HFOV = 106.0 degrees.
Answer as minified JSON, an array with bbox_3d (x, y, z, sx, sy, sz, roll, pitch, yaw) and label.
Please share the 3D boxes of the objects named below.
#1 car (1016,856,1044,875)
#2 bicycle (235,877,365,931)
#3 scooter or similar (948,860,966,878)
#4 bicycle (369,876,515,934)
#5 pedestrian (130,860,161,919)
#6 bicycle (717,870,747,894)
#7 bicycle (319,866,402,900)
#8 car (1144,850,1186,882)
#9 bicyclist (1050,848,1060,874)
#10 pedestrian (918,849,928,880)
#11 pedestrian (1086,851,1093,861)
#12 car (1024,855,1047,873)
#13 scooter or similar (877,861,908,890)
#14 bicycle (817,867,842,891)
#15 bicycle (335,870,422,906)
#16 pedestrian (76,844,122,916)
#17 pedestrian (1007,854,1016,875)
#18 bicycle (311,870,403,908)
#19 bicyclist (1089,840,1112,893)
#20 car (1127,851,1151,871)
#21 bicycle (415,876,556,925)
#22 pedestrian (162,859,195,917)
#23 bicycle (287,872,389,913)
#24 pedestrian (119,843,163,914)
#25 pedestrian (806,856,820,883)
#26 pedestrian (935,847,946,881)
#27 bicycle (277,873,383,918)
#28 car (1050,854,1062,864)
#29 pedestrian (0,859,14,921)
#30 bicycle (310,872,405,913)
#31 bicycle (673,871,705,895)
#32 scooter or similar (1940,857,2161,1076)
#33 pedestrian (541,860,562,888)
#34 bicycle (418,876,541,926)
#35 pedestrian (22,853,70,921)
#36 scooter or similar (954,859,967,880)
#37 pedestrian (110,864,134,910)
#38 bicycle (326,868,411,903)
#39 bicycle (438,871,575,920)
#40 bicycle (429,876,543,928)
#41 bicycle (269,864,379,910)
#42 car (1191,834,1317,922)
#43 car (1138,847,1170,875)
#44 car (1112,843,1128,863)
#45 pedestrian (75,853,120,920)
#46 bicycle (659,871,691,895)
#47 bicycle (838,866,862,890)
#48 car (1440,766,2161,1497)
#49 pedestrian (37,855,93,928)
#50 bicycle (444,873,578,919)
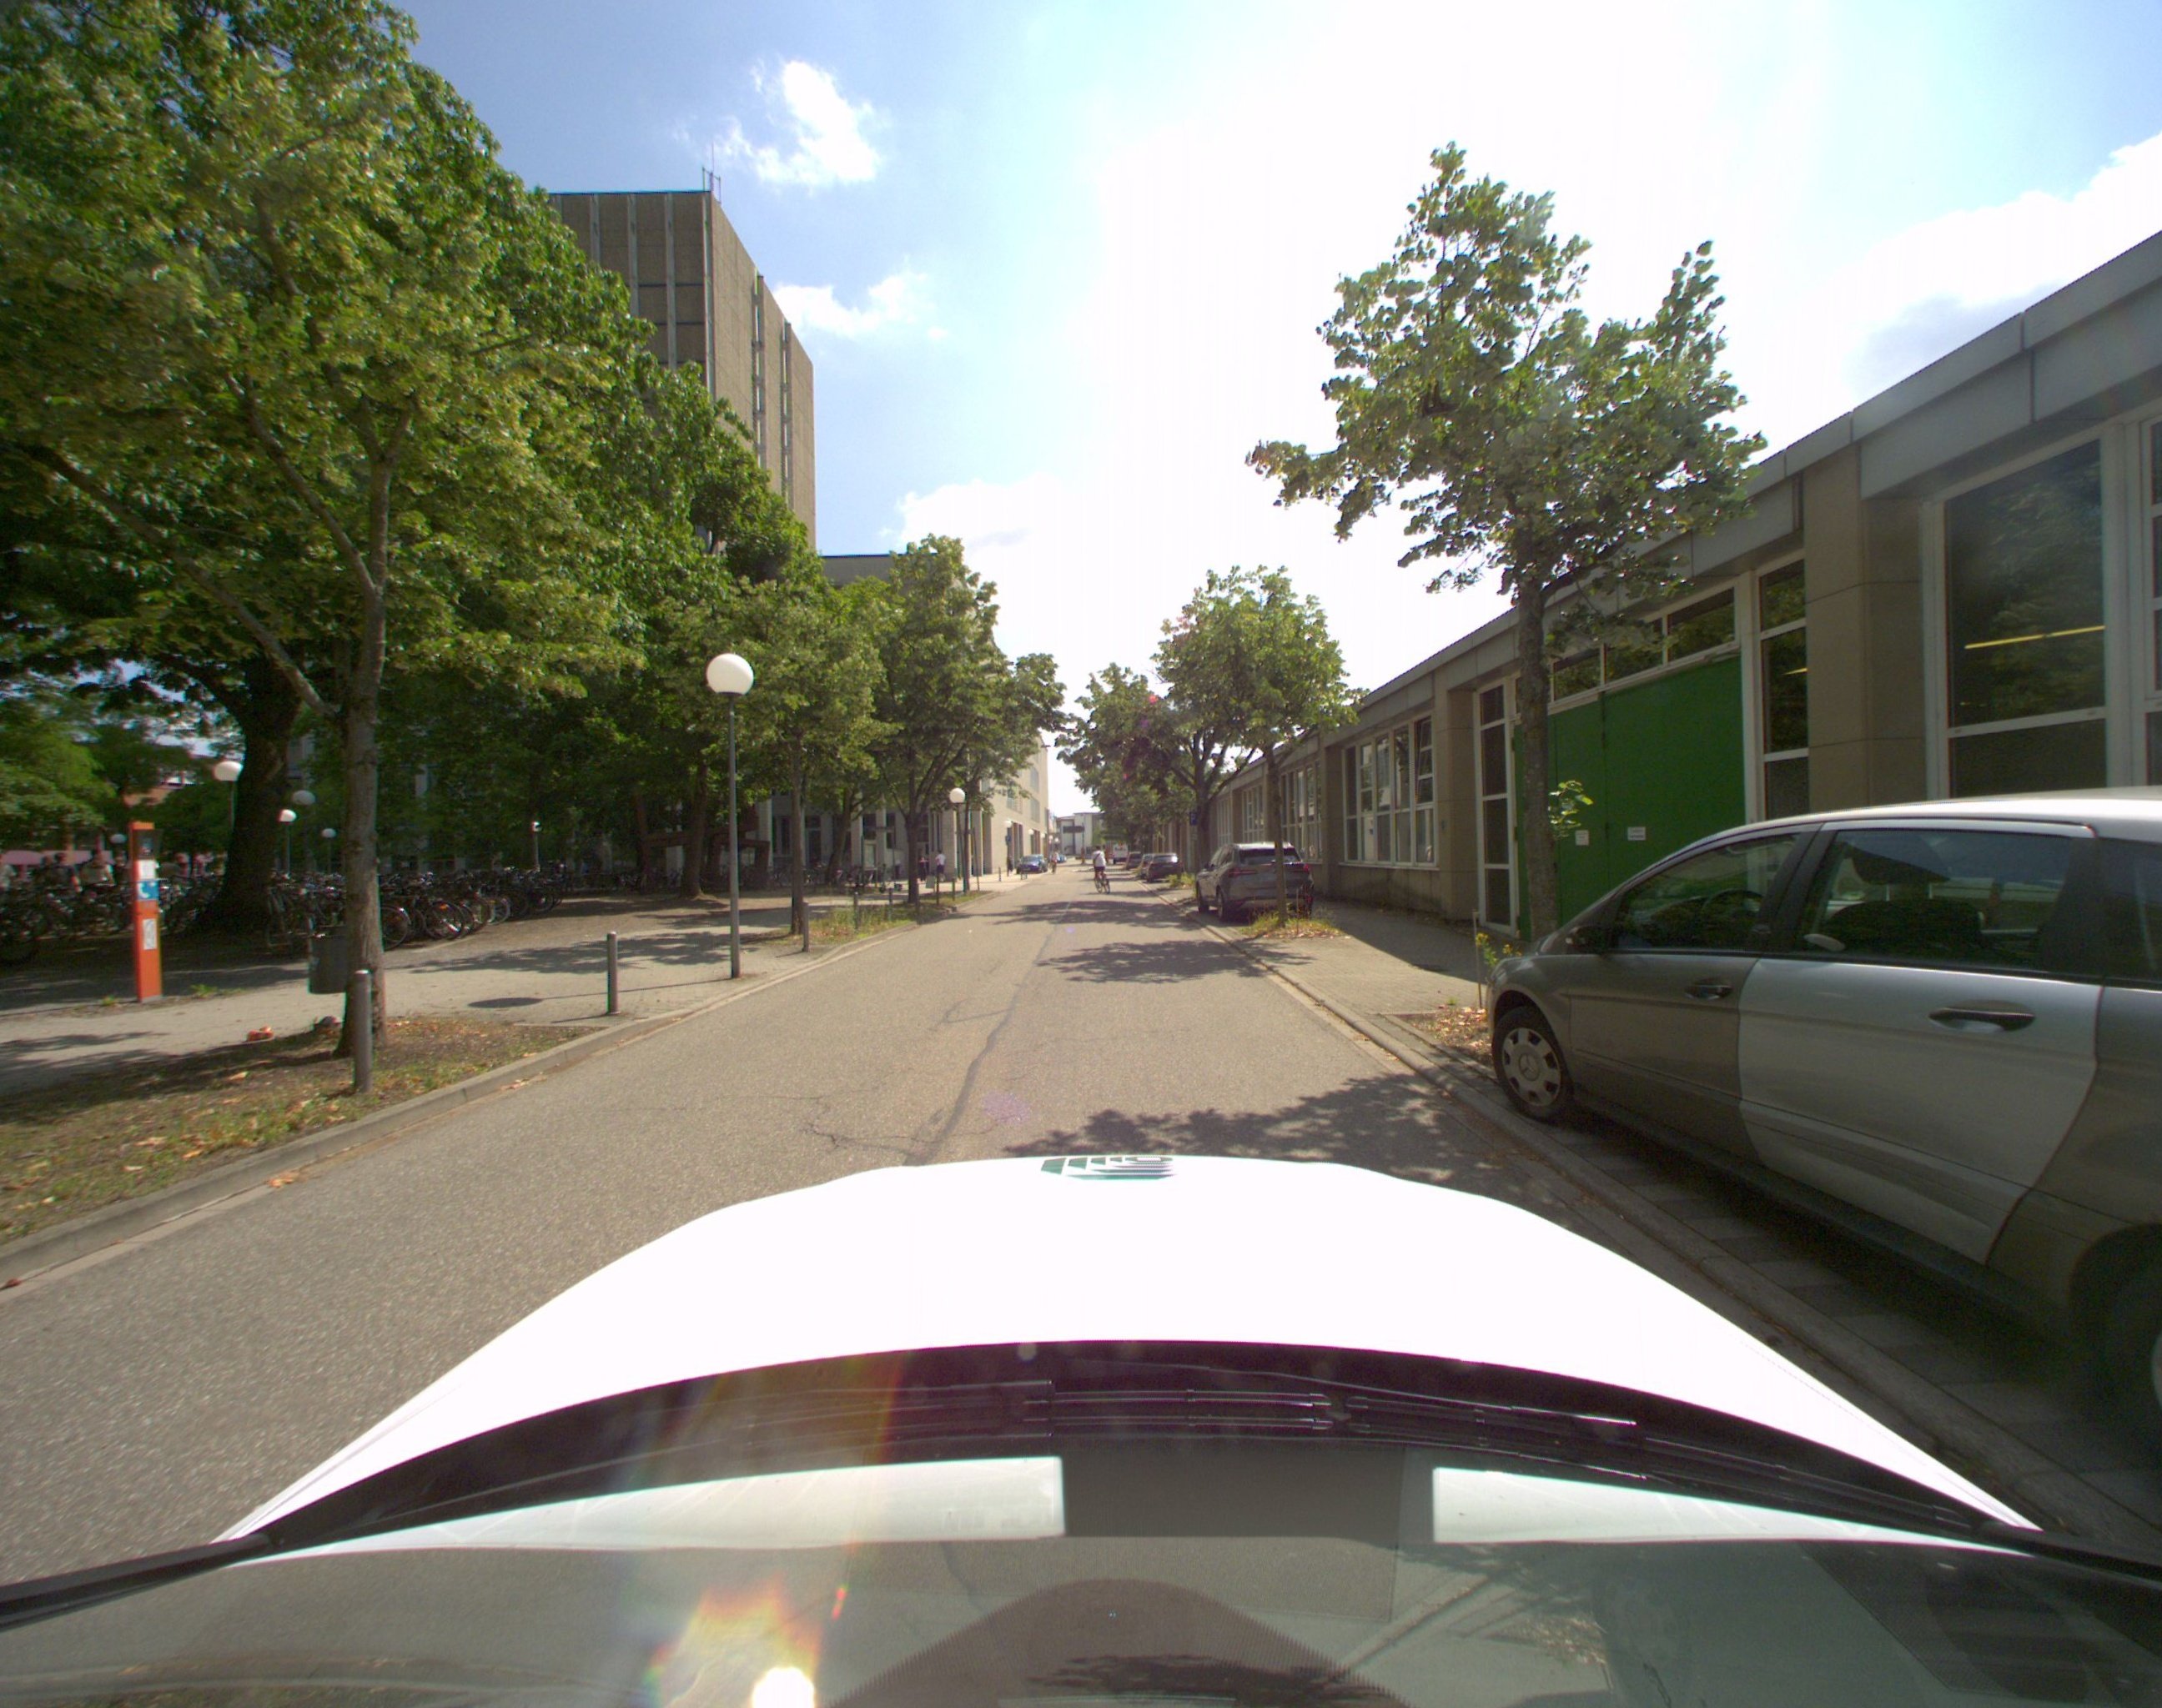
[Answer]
[{"bbox_3d":[-4.046,0.908,65.394,1.759,1.427,4.237,-1,-1,3],"label":"car"},{"bbox_3d":[-18.020,1.137,18.860,2.069,1.132,0.633,0,0,-34],"label":"bicycle"},{"bbox_3d":[-8.638,1.035,56.728,0.529,1.210,1.541,-1,0,-36],"label":"scooter or similar"},{"bbox_3d":[-12.506,0.979,16.028,2.160,1.008,0.671,-1,0,-29],"label":"bicycle"},{"bbox_3d":[-32.380,1.220,28.194,0.528,2.013,0.522,-1,0,16],"label":"pedestrian"},{"bbox_3d":[-16.774,1.316,39.207,0.550,1.086,1.973,0,0,1],"label":"bicycle"},{"bbox_3d":[-25.208,1.031,28.539,2.068,1.132,0.633,2,-1,-34],"label":"bicycle"},{"bbox_3d":[4.286,0.586,42.164,1.774,1.476,4.463,-3,0,1],"label":"car"},{"bbox_3d":[-2.040,0.535,63.643,0.709,2.013,1.018,-3,0,-1],"label":"bicyclist"},{"bbox_3d":[-9.214,0.612,47.545,0.443,1.775,0.447,-1,0,-29],"label":"pedestrian"},{"bbox_3d":[1.813,0.490,177.275,1.413,2.107,0.994,0,0,-2],"label":"pedestrian"},{"bbox_3d":[-3.874,0.856,70.276,1.625,1.485,4.179,-1,0,2],"label":"car"},{"bbox_3d":[-7.742,0.877,33.457,0.335,1.175,1.337,-1,0,36],"label":"scooter or similar"},{"bbox_3d":[-12.257,1.201,39.705,0.550,1.086,1.973,0,0,1],"label":"bicycle"},{"bbox_3d":[-22.970,1.116,26.682,2.068,1.132,0.633,2,-1,-34],"label":"bicycle"},{"bbox_3d":[-27.021,0.692,22.417,0.624,1.934,0.675,0,0,-34],"label":"pedestrian"},{"bbox_3d":[-5.624,0.864,65.681,0.649,1.701,0.886,-1,0,-9],"label":"pedestrian"},{"bbox_3d":[-22.628,1.079,25.518,2.068,1.132,0.633,1,-1,-34],"label":"bicycle"},{"bbox_3d":[0.768,0.487,31.769,0.870,2.013,0.850,-1,0,2],"label":"bicyclist"},{"bbox_3d":[4.977,0.591,70.182,1.851,1.574,4.002,-3,0,2],"label":"car"},{"bbox_3d":[-14.186,1.073,19.464,2.665,1.008,0.670,-1,0,-42],"label":"bicycle"},{"bbox_3d":[-31.816,1.172,28.709,0.528,2.013,0.595,-1,0,16],"label":"pedestrian"},{"bbox_3d":[-21.519,1.106,23.635,2.068,1.132,0.633,2,-1,-34],"label":"bicycle"},{"bbox_3d":[-26.346,0.674,22.834,0.650,1.934,0.689,0,0,-34],"label":"pedestrian"},{"bbox_3d":[-17.068,0.969,51.862,0.638,1.661,0.687,-1,0,-37],"label":"pedestrian"},{"bbox_3d":[-8.072,0.574,46.781,0.415,1.942,0.657,0,0,-28],"label":"pedestrian"},{"bbox_3d":[-20.863,1.135,22.675,2.069,1.132,0.633,-1,1,-34],"label":"bicycle"},{"bbox_3d":[-4.009,0.843,131.176,1.640,1.498,3.728,-2,-2,1],"label":"car"},{"bbox_3d":[-28.249,0.946,21.236,0.464,1.614,0.346,0,-1,-44],"label":"pedestrian"},{"bbox_3d":[-21.912,1.141,24.720,2.069,1.132,0.633,-1,1,-34],"label":"bicycle"},{"bbox_3d":[-18.890,1.380,39.262,0.550,1.086,1.973,0,0,1],"label":"bicycle"},{"bbox_3d":[6.319,0.643,5.034,0.414,1.217,1.493,-3,0,1],"label":"scooter or similar"},{"bbox_3d":[-30.956,1.172,47.613,0.824,1.593,0.598,-1,0,3],"label":"pedestrian"},{"bbox_3d":[-13.534,1.034,18.403,2.160,1.008,0.671,-1,0,-30],"label":"bicycle"},{"bbox_3d":[-25.813,0.804,20.323,0.558,1.670,0.696,0,0,-34],"label":"pedestrian"},{"bbox_3d":[-7.305,0.925,49.459,0.452,1.223,1.551,-1,0,5],"label":"scooter or similar"},{"bbox_3d":[-36.165,1.234,30.720,0.414,1.714,0.539,0,0,-30],"label":"pedestrian"},{"bbox_3d":[-24.282,1.081,27.803,2.068,1.132,0.667,2,-1,-34],"label":"bicycle"},{"bbox_3d":[-14.563,1.011,20.697,2.766,1.086,0.872,-1,0,-42],"label":"bicycle"},{"bbox_3d":[-12.696,1.012,17.455,1.897,1.008,0.671,-1,0,-29],"label":"bicycle"},{"bbox_3d":[-20.290,0.856,21.880,2.069,1.132,0.633,-1,1,-34],"label":"bicycle"},{"bbox_3d":[3.778,0.516,18.620,1.817,1.664,4.582,-3,-1,-1],"label":"car"},{"bbox_3d":[4.267,0.419,47.730,1.610,1.538,3.781,-1,0,2],"label":"car"},{"bbox_3d":[5.141,-0.160,107.640,2.076,2.539,4.316,0,0,1],"label":"car"},{"bbox_3d":[-25.158,0.808,20.832,0.558,1.670,0.687,0,0,-34],"label":"pedestrian"},{"bbox_3d":[-19.666,1.410,39.490,0.550,1.086,1.973,0,0,1],"label":"bicycle"},{"bbox_3d":[-11.156,1.159,39.398,0.550,1.086,1.973,0,0,1],"label":"bicycle"},{"bbox_3d":[3.146,0.566,3.059,1.699,1.574,4.139,-2,0,0],"label":"car"},{"bbox_3d":[-23.825,0.850,19.108,0.634,1.670,0.722,0,0,-34],"label":"pedestrian"},{"bbox_3d":[-15.072,1.081,21.604,2.849,1.050,0.872,-1,0,-42],"label":"bicycle"}]
